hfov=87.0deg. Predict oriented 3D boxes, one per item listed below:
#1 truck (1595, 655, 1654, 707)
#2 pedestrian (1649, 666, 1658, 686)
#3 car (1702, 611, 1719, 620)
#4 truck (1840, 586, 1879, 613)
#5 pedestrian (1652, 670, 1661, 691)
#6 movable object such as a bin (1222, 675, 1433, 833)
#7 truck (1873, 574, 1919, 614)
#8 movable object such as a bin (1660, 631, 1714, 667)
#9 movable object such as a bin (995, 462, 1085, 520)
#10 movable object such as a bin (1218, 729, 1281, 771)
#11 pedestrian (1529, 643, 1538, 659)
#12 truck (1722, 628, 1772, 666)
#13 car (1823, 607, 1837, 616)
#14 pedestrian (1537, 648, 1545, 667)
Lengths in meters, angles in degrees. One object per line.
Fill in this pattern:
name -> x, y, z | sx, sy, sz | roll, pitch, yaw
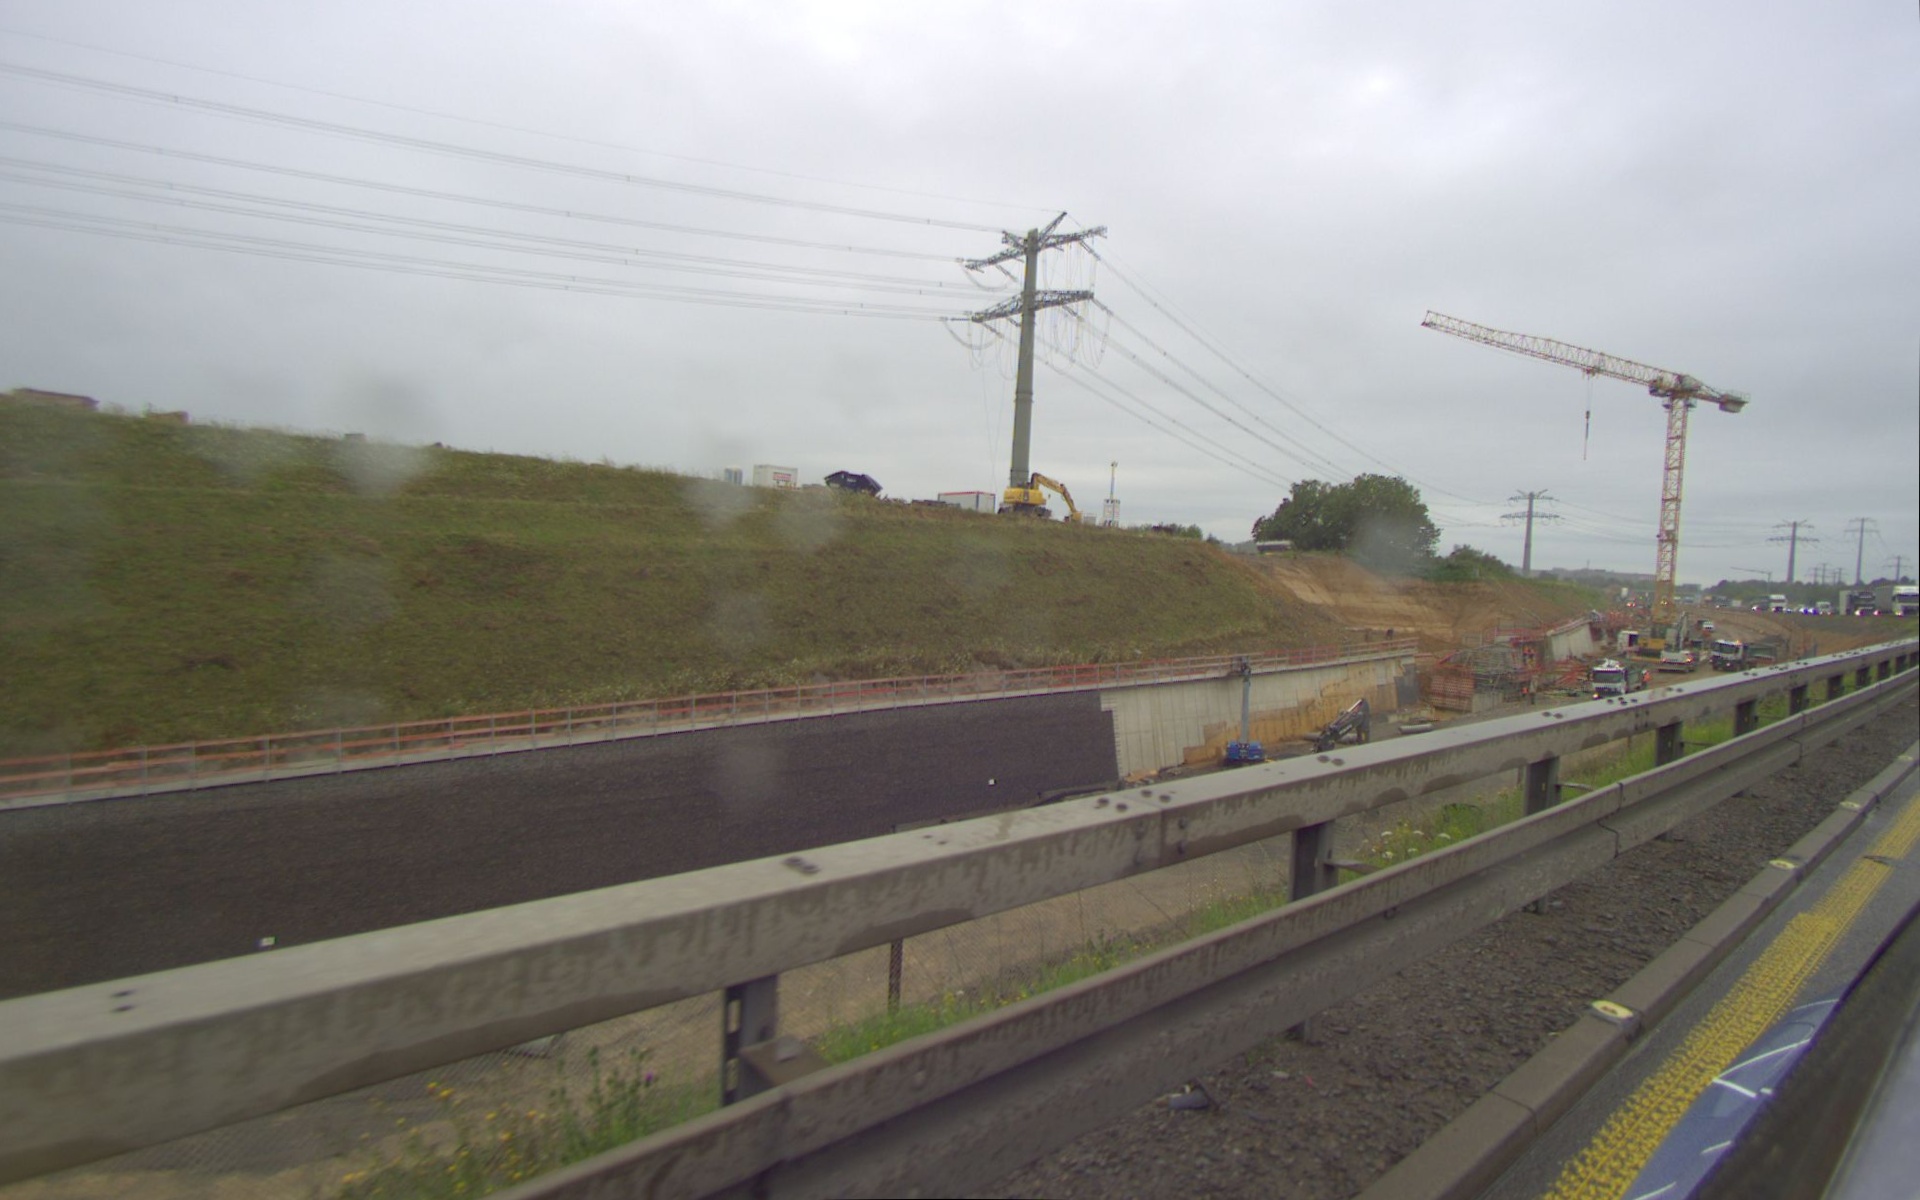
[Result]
truck -> 58.941, 7.048, 89.620 | 2.704, 3.656, 8.931 | 3, 3, 44
pedestrian -> 69.242, 7.596, 101.087 | 0.601, 1.928, 0.474 | 3, 2, 41
car -> 149.309, 3.143, 201.322 | 2.341, 1.638, 4.791 | 2, 2, 39
truck -> 135.970, -0.031, 153.117 | 3.526, 3.943, 8.227 | -1, -1, 36
pedestrian -> 69.005, 7.981, 100.313 | 0.601, 1.928, 0.605 | 3, 2, 41
movable object such as a bin -> 18.777, 7.288, 51.053 | 11.890, 5.740, 4.898 | -4, 1, -43
truck -> 109.966, -0.637, 118.298 | 4.301, 4.400, 13.213 | -1, 0, 40
movable object such as a bin -> 81.676, 5.441, 113.618 | 6.537, 3.467, 3.514 | -2, 1, -41
movable object such as a bin -> 7.026, -9.402, 88.019 | 8.037, 4.259, 3.104 | 0, 1, -42
movable object such as a bin -> 17.646, 9.095, 61.622 | 2.514, 1.935, 3.208 | -2, -1, 42
pedestrian -> 63.864, 5.678, 112.697 | 0.570, 1.827, 0.490 | -3, -3, -9
truck -> 89.678, 5.265, 115.290 | 8.764, 3.583, 3.355 | -3, 3, -44
car -> 147.830, 1.979, 171.964 | 1.782, 1.445, 3.942 | -1, 0, 40
pedestrian -> 65.216, 6.441, 113.604 | 0.487, 2.127, 0.474 | -6, -4, 41
